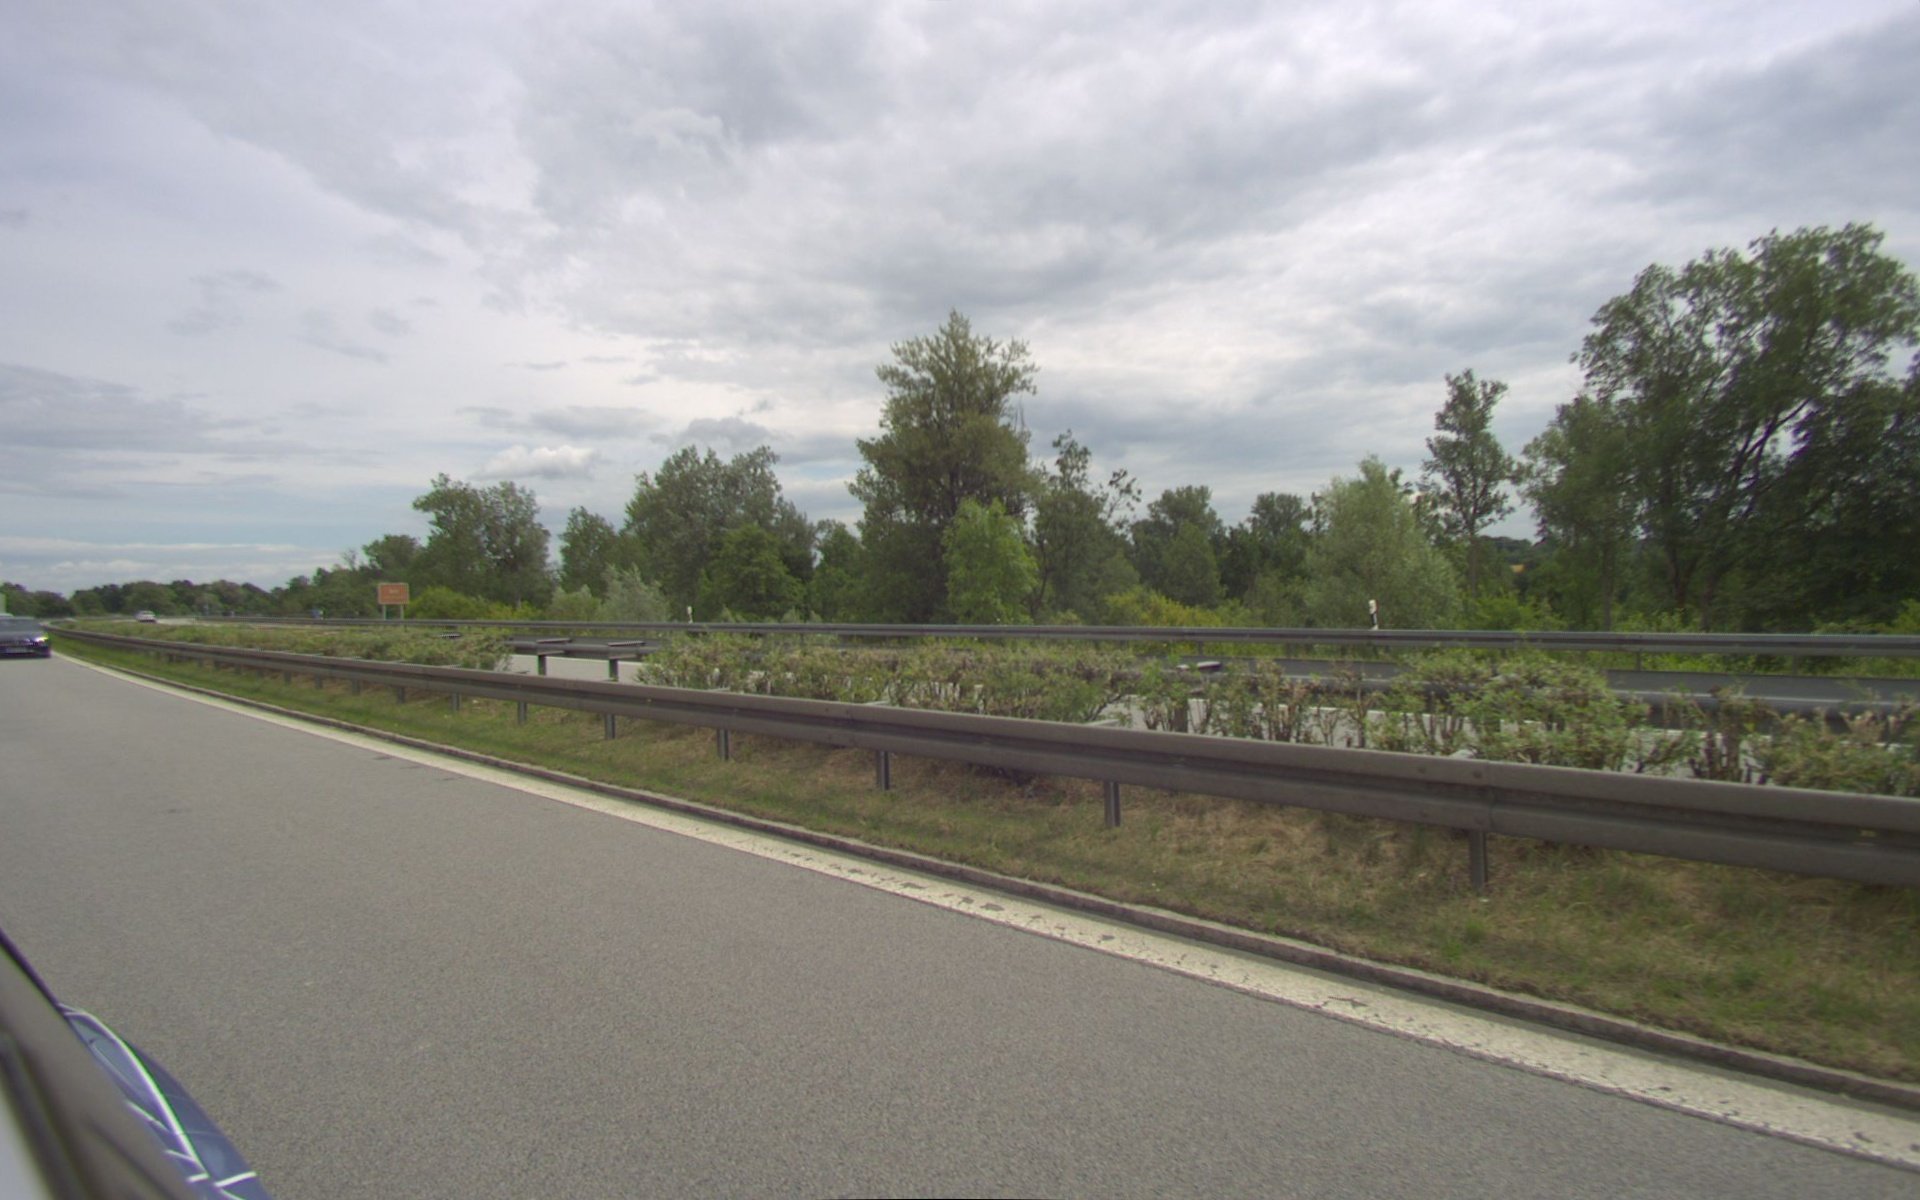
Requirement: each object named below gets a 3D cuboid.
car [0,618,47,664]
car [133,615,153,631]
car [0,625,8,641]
[{"bbox_3d":[-33.019,1.436,35.028,4.698,1.494,1.751,-3,-3,44],"label":"car"},{"bbox_3d":[-97.074,2.732,120.271,1.622,1.728,4.987,-1,0,-41],"label":"car"},{"bbox_3d":[-94.919,3.218,99.559,1.749,1.494,4.661,1,-3,-42],"label":"car"}]
